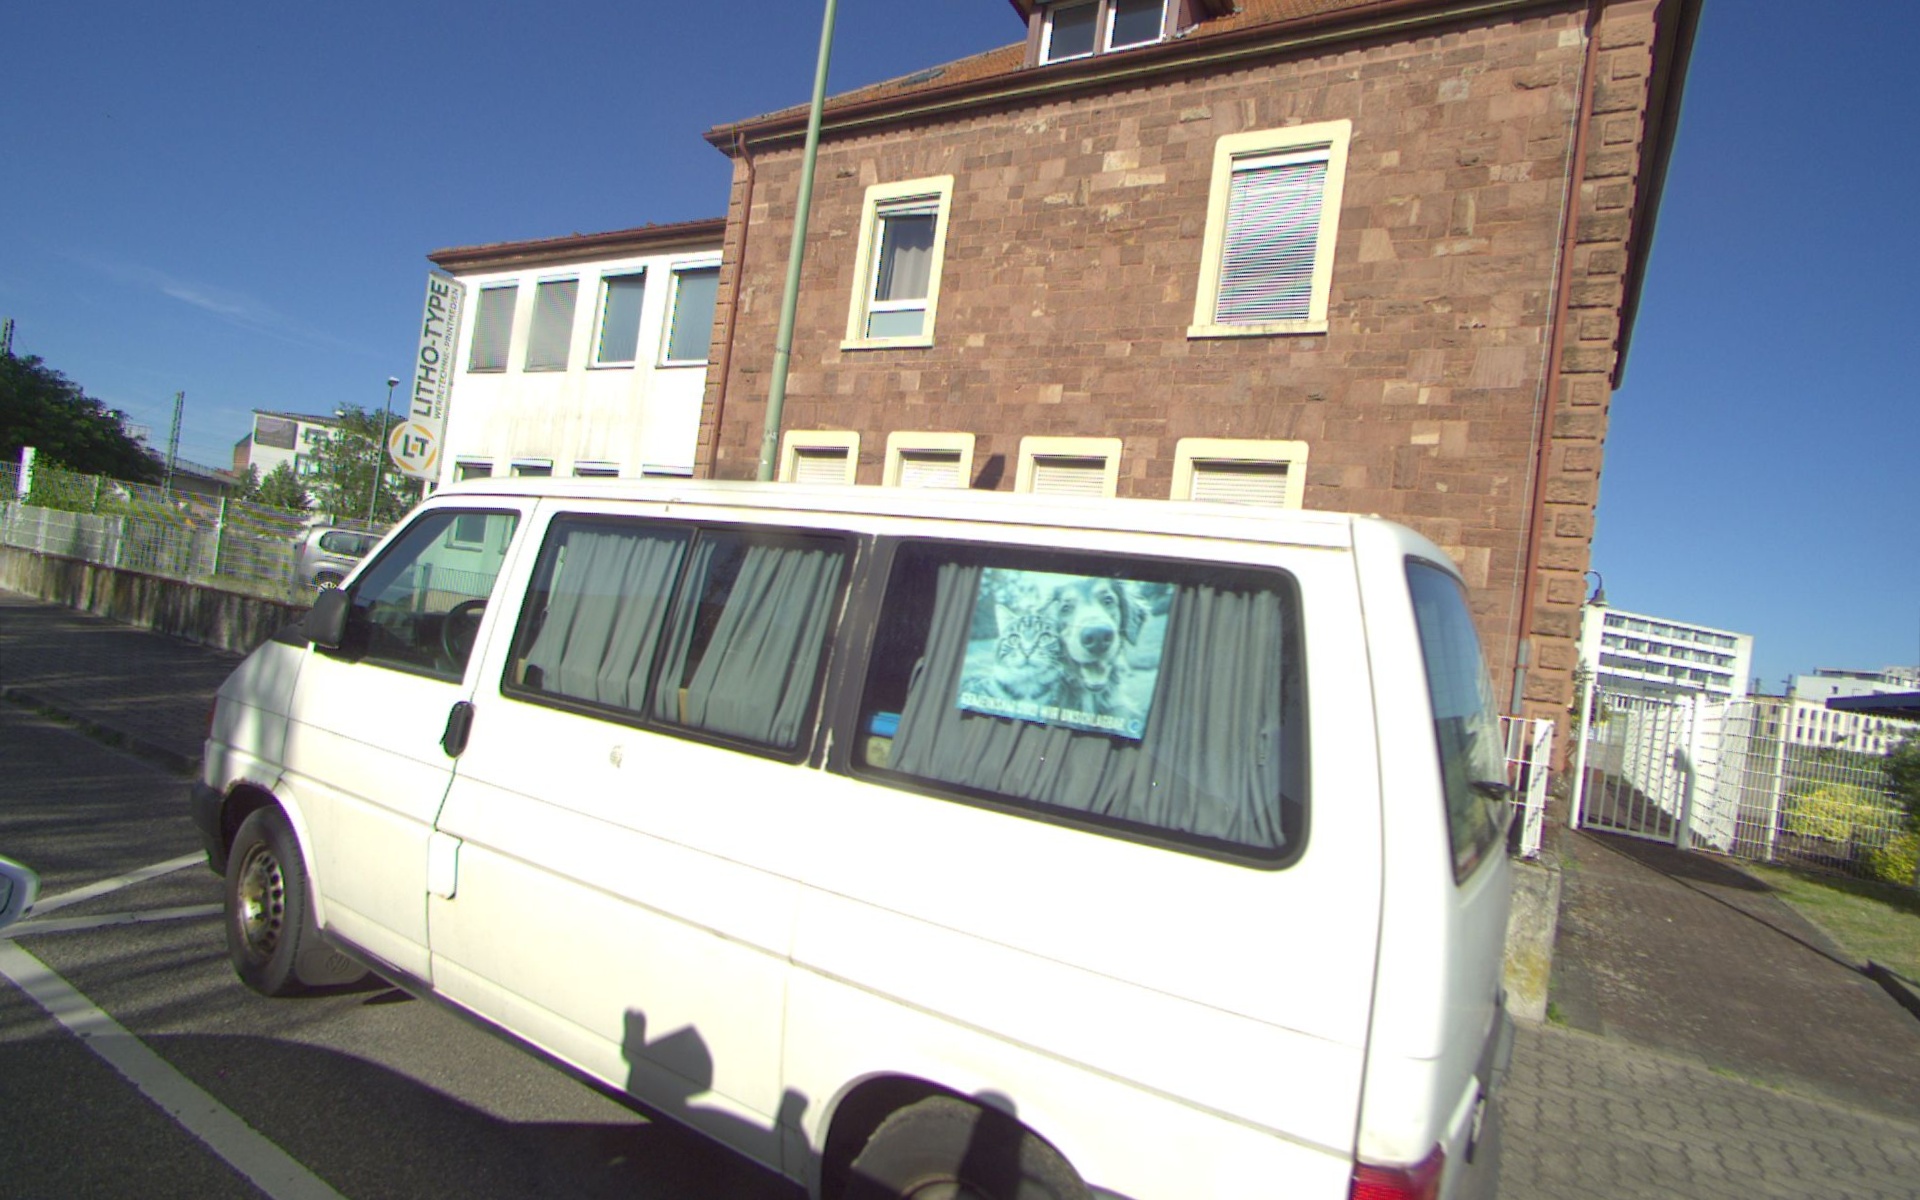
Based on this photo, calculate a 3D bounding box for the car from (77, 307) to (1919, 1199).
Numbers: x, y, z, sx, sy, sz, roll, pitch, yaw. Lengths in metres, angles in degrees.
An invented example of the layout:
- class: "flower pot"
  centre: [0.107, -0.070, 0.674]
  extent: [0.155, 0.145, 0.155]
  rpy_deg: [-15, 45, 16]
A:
- class: "car"
  centre: [-0.599, 0.552, 3.314]
  extent: [5.075, 2.035, 1.879]
  rpy_deg: [6, -3, 32]

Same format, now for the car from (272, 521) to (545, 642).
- class: "car"
  centre: [-12.754, -0.382, 23.626]
  extent: [5.077, 2.037, 1.876]
  rpy_deg: [8, -1, -12]
